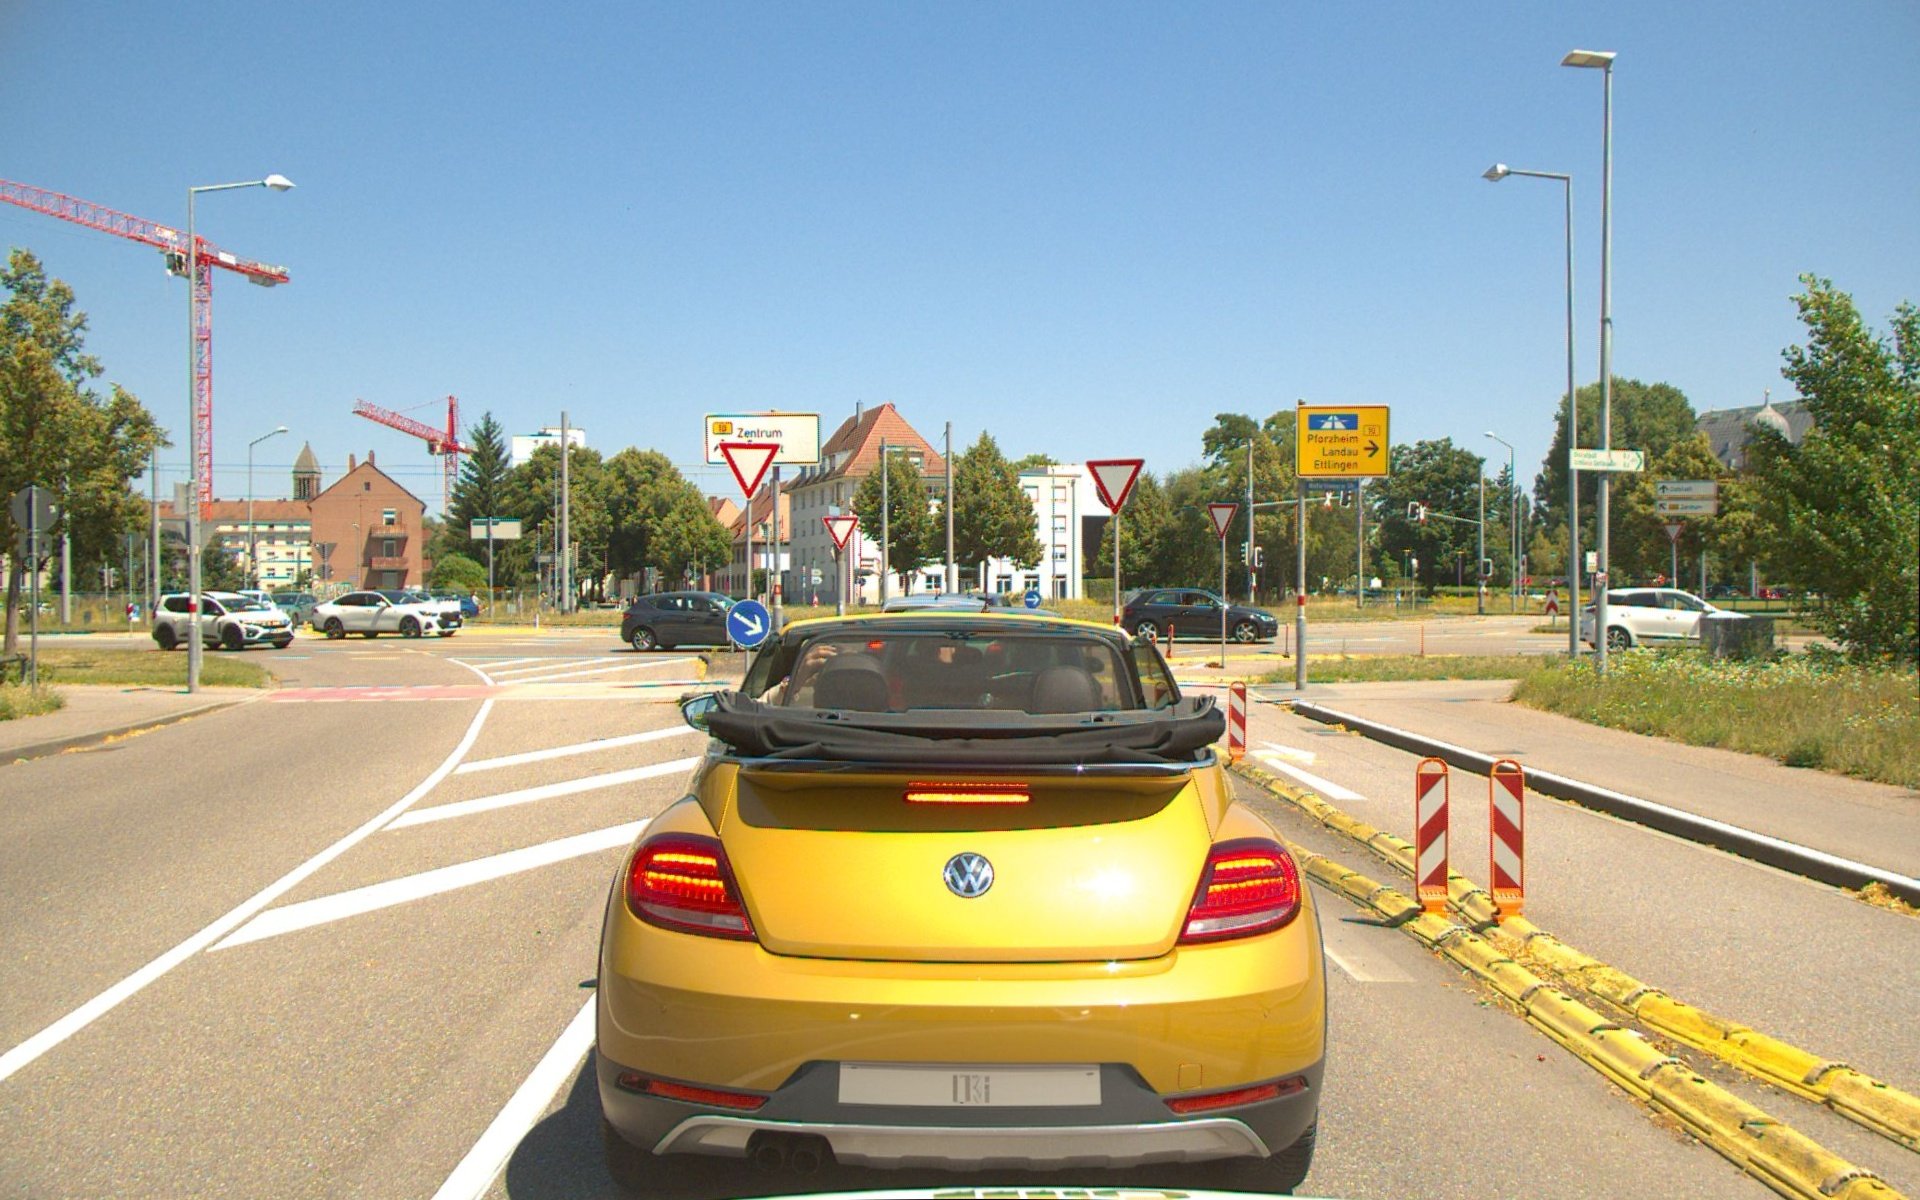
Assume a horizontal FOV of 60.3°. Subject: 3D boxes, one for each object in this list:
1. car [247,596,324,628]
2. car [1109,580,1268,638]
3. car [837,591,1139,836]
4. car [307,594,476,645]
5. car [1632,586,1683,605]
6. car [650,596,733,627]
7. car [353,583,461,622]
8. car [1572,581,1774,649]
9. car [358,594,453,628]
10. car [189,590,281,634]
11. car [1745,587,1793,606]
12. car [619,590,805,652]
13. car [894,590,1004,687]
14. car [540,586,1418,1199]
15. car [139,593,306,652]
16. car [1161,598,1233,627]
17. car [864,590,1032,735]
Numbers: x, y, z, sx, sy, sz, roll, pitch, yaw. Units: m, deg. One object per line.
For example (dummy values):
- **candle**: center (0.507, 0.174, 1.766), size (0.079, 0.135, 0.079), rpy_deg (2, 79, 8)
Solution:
- **car**: center (-27.787, 0.486, 68.241), size (1.672, 1.258, 3.786), rpy_deg (0, 0, -1)
- **car**: center (6.005, 0.237, 43.838), size (4.099, 1.467, 2.001), rpy_deg (0, 0, 5)
- **car**: center (0.144, 0.679, 11.968), size (1.810, 1.467, 3.999), rpy_deg (0, 0, -1)
- **car**: center (-18.035, 0.600, 52.460), size (4.887, 1.536, 2.000), rpy_deg (0, 0, 20)
- **car**: center (63.792, -0.389, 151.314), size (3.923, 1.744, 1.991), rpy_deg (0, 0, -17)
- **car**: center (-16.340, 0.688, 100.639), size (4.631, 1.860, 1.976), rpy_deg (0, 0, -35)
- **car**: center (-27.978, 0.117, 83.775), size (1.988, 1.817, 4.909), rpy_deg (-1, 0, 38)
- **car**: center (16.137, 0.325, 37.594), size (3.922, 1.470, 1.634), rpy_deg (0, 0, 8)
- **car**: center (-26.189, 0.509, 78.229), size (1.676, 1.526, 4.210), rpy_deg (0, 0, 32)
- **car**: center (-26.994, 0.431, 61.727), size (1.720, 1.576, 3.999), rpy_deg (0, 0, -1)
- **car**: center (76.360, -0.318, 156.127), size (3.926, 1.744, 1.989), rpy_deg (0, 0, -19)
- **car**: center (-6.136, 0.497, 41.093), size (4.115, 1.467, 2.002), rpy_deg (0, 0, 13)
- **car**: center (-0.202, 0.595, 27.777), size (1.701, 1.503, 3.999), rpy_deg (0, 0, -1)
- **car**: center (0.010, 0.698, 5.133), size (1.717, 1.447, 3.776), rpy_deg (0, 0, -1)
- **car**: center (-20.960, 0.603, 46.980), size (4.487, 1.593, 1.997), rpy_deg (0, 0, 28)
- **car**: center (15.045, 0.794, 105.098), size (4.114, 1.701, 1.943), rpy_deg (-1, 0, 34)
- **car**: center (-0.146, 0.631, 18.866), size (1.701, 1.467, 3.999), rpy_deg (0, 0, -1)
